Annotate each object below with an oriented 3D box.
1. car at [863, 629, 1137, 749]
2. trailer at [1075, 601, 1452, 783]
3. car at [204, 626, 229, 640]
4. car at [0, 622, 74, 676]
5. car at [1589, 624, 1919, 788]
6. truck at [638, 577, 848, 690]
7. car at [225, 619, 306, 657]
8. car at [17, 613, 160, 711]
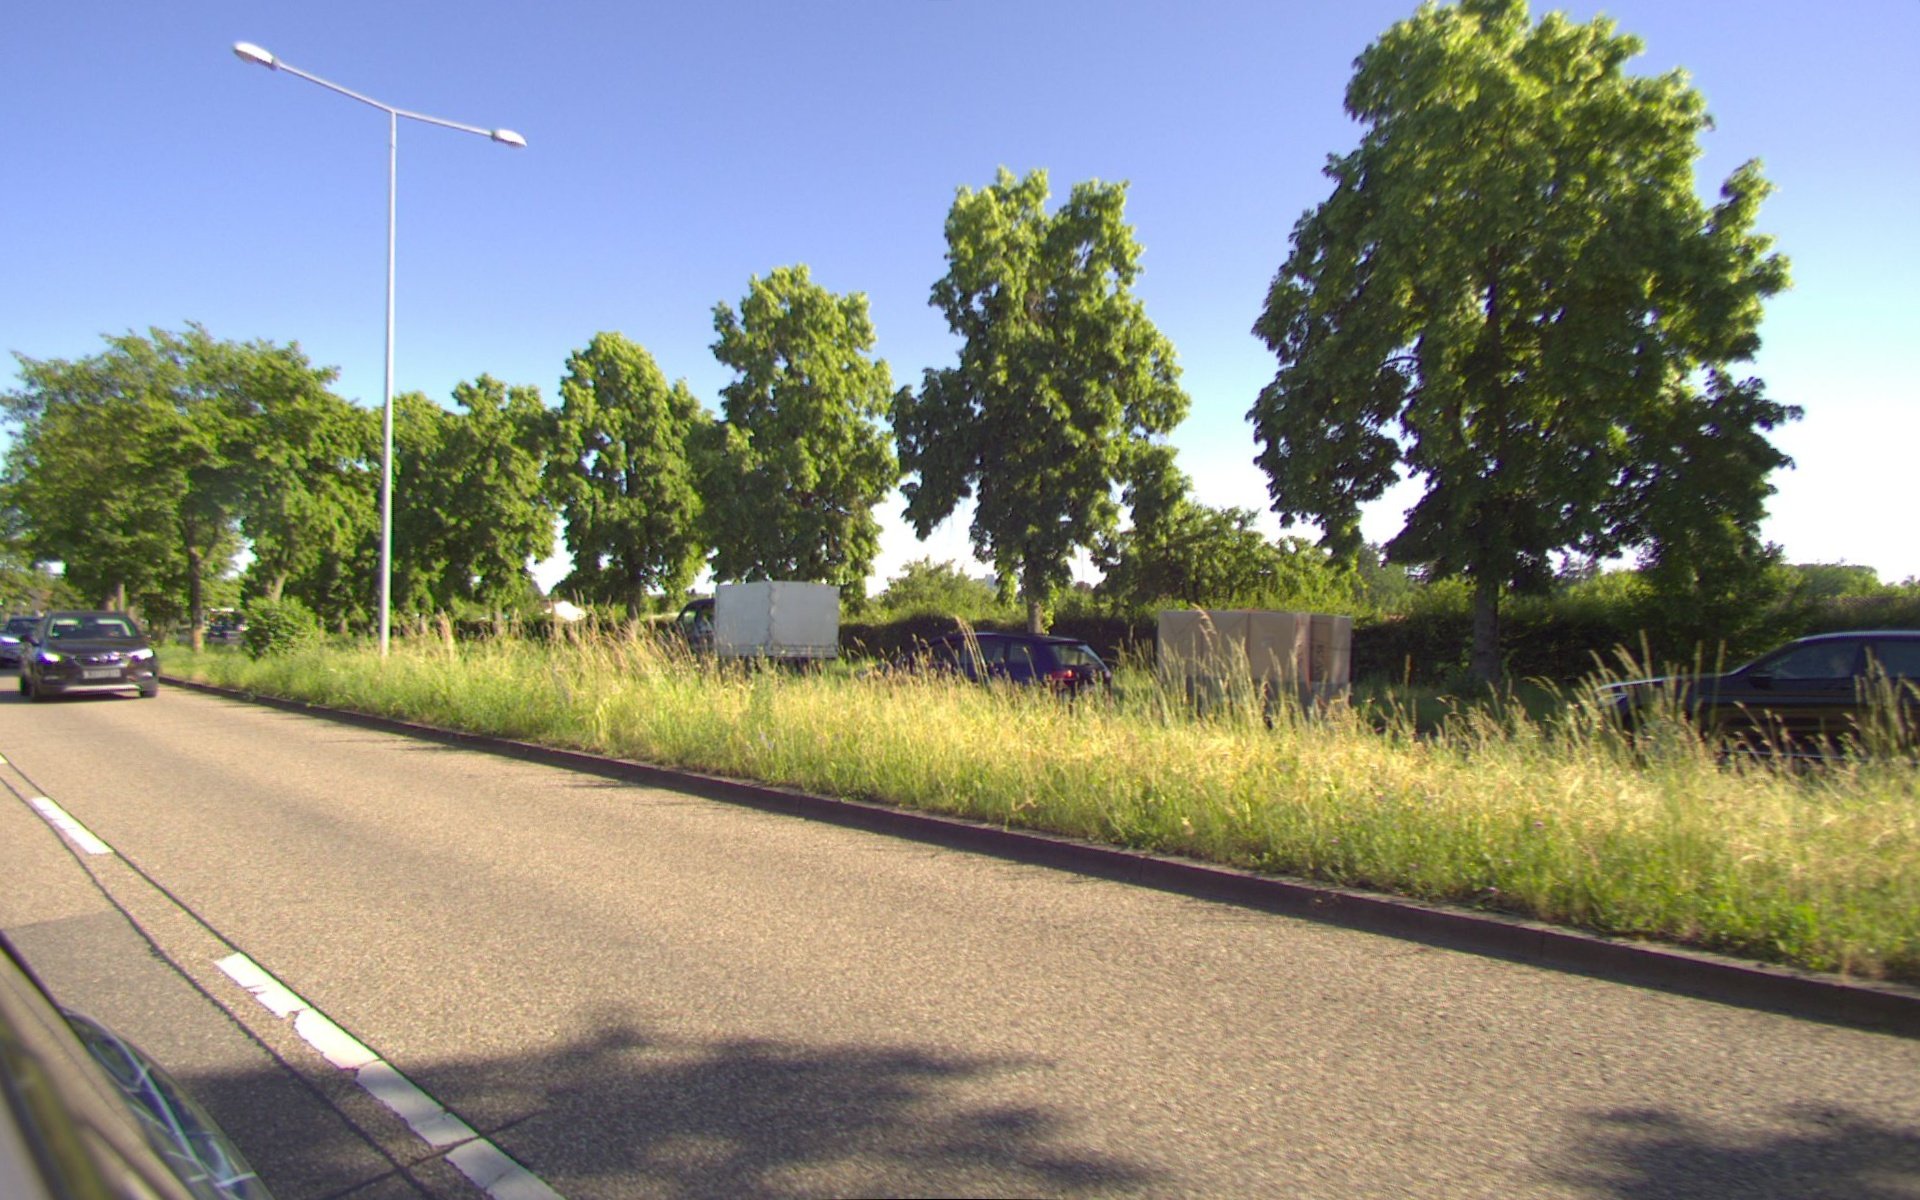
[{"bbox_3d":[0.523,1.251,15.488,4.022,1.594,1.678,-1,-2,41],"label":"car"},{"bbox_3d":[3.663,1.029,12.719,4.279,1.925,1.546,-1,-2,40],"label":"trailer"},{"bbox_3d":[-79.799,3.577,108.674,1.669,1.447,4.954,4,-3,-32],"label":"car"},{"bbox_3d":[-29.190,1.505,31.880,1.797,1.574,4.651,1,-2,-43],"label":"car"},{"bbox_3d":[9.748,1.090,11.163,4.575,1.632,1.732,-1,-2,40],"label":"car"},{"bbox_3d":[-5.549,0.863,25.356,5.741,2.532,2.149,-1,-4,42],"label":"truck"},{"bbox_3d":[-31.926,1.718,46.431,5.575,1.618,1.836,-1,-4,43],"label":"car"},{"bbox_3d":[-16.683,1.079,19.285,1.785,1.627,4.518,2,-2,-44],"label":"car"}]
